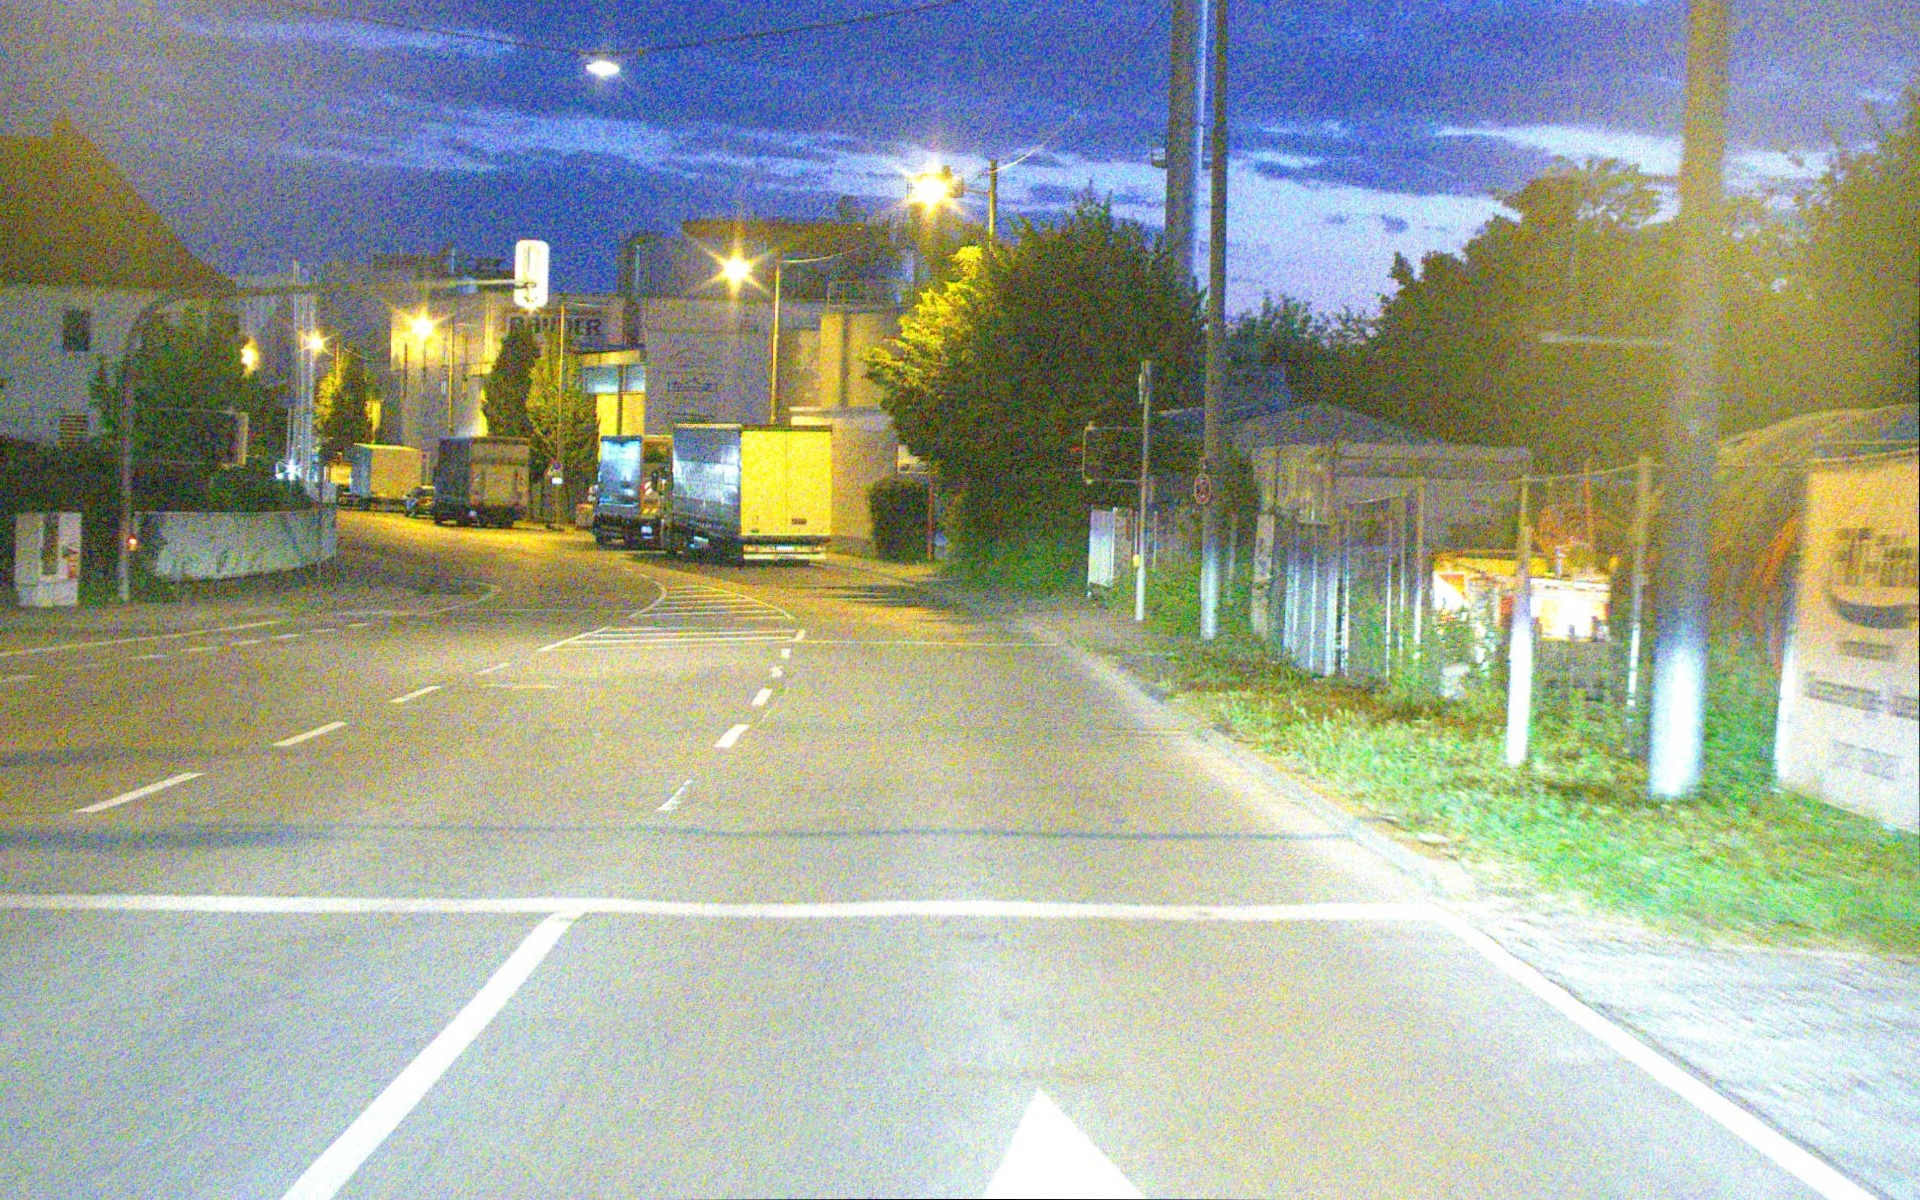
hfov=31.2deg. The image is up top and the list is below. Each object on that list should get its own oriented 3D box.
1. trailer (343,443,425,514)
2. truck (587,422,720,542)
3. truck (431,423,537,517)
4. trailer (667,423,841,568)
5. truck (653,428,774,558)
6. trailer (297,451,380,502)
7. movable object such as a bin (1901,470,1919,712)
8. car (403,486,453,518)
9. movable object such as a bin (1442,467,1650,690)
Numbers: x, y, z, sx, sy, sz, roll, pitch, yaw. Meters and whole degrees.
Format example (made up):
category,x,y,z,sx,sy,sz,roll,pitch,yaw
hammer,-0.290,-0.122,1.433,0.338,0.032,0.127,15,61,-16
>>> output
category,x,y,z,sx,sy,sz,roll,pitch,yaw
trailer,-29.849,-6.301,177.961,2.686,3.452,7.812,2,2,-20
truck,-10.686,-4.080,118.823,2.829,3.969,10.346,0,2,-15
truck,-20.983,-5.695,151.058,3.519,3.969,10.346,0,2,-14
trailer,-6.282,-3.137,102.020,2.808,3.969,13.980,0,2,-13
truck,-7.825,-3.395,108.499,2.829,3.969,6.052,0,2,-13
trailer,-35.023,-6.947,193.440,3.183,2.739,10.719,0,2,-18
movable object such as a bin,12.004,-0.018,37.298,2.227,2.715,3.866,2,1,-3
car,-25.663,-4.738,165.809,1.852,1.514,3.820,0,2,-17
movable object such as a bin,6.507,-0.255,38.288,1.679,2.375,1.617,2,1,-13
